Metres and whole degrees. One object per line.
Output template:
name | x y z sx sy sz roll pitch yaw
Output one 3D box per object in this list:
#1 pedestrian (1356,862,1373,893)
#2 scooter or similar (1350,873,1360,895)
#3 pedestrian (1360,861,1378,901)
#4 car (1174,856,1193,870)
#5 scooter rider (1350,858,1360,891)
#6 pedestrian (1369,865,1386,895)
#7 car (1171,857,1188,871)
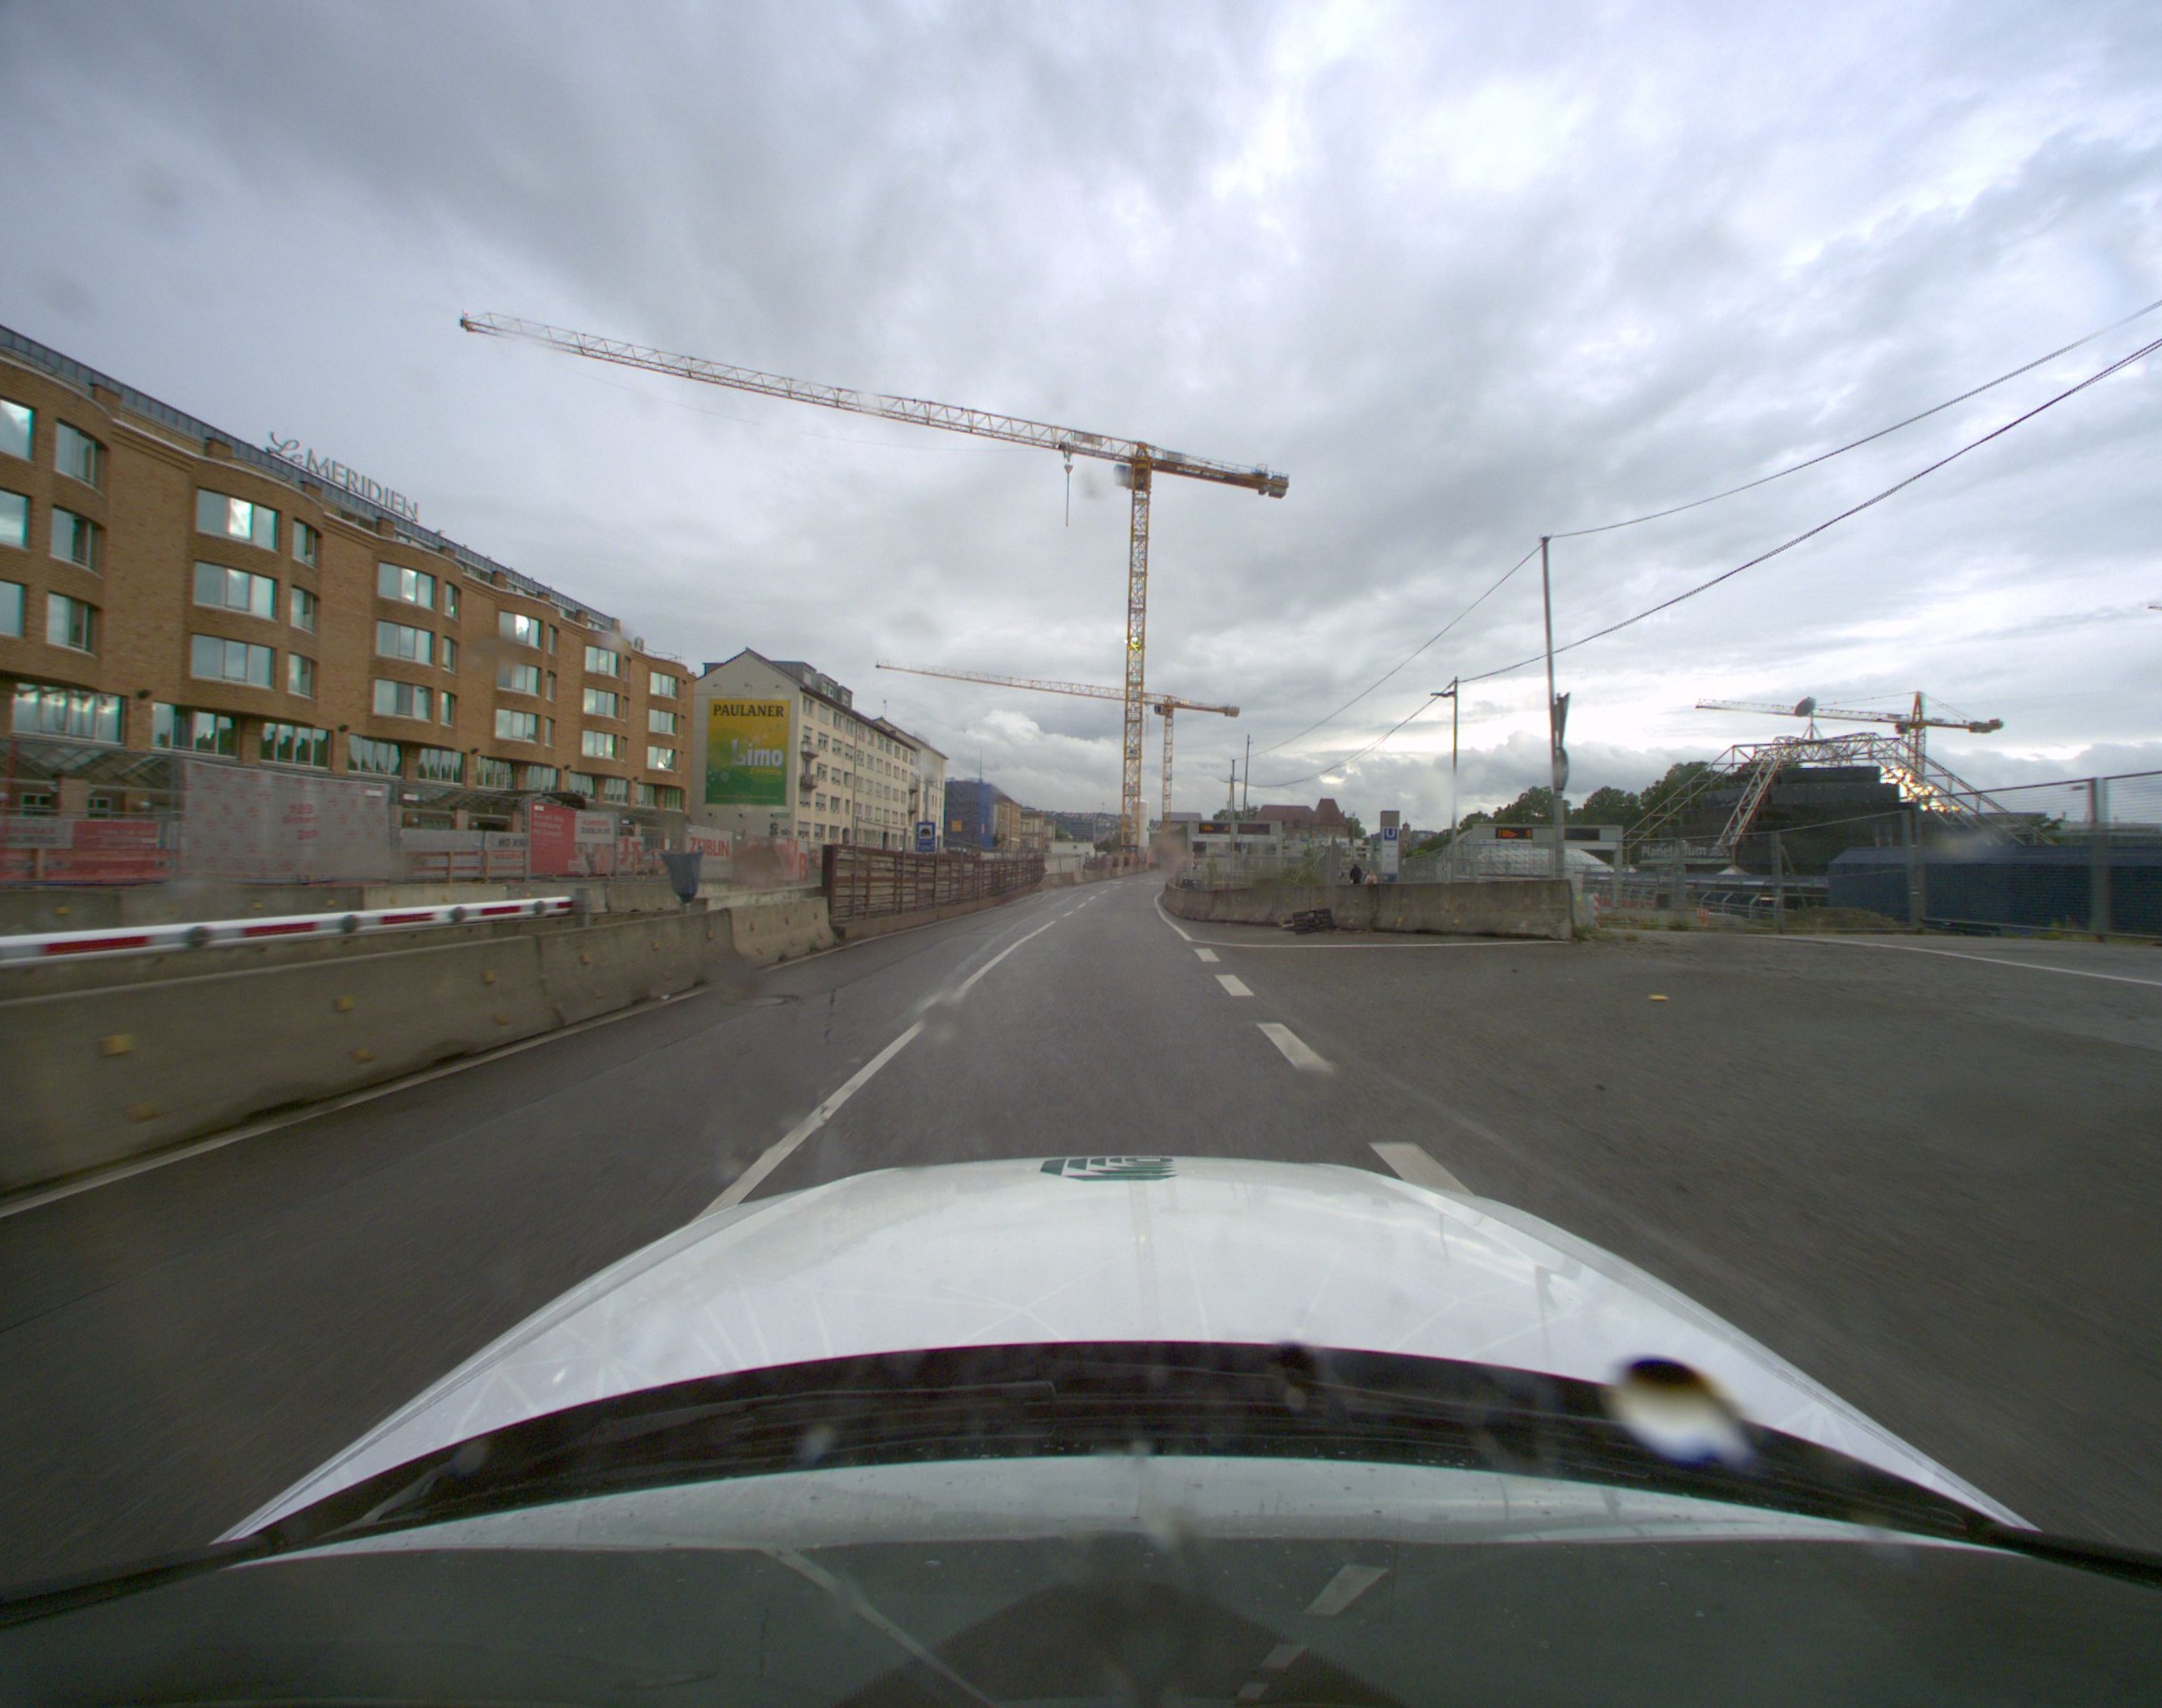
pedestrian | 16.715 1.378 47.983 0.686 1.778 1.024 1 -1 4
scooter or similar | 14.842 1.609 44.140 0.486 1.179 1.101 0 0 20
pedestrian | 13.079 1.221 36.994 0.685 1.778 0.818 0 -1 10
car | 10.393 0.916 82.611 1.852 1.433 4.666 0 -1 8
scooter rider | 14.847 1.106 44.139 0.516 1.755 0.703 0 0 20
pedestrian | 17.448 1.529 47.892 0.722 1.778 1.024 0 -1 5
car | 12.352 1.234 102.054 1.852 1.660 4.668 2 0 9
